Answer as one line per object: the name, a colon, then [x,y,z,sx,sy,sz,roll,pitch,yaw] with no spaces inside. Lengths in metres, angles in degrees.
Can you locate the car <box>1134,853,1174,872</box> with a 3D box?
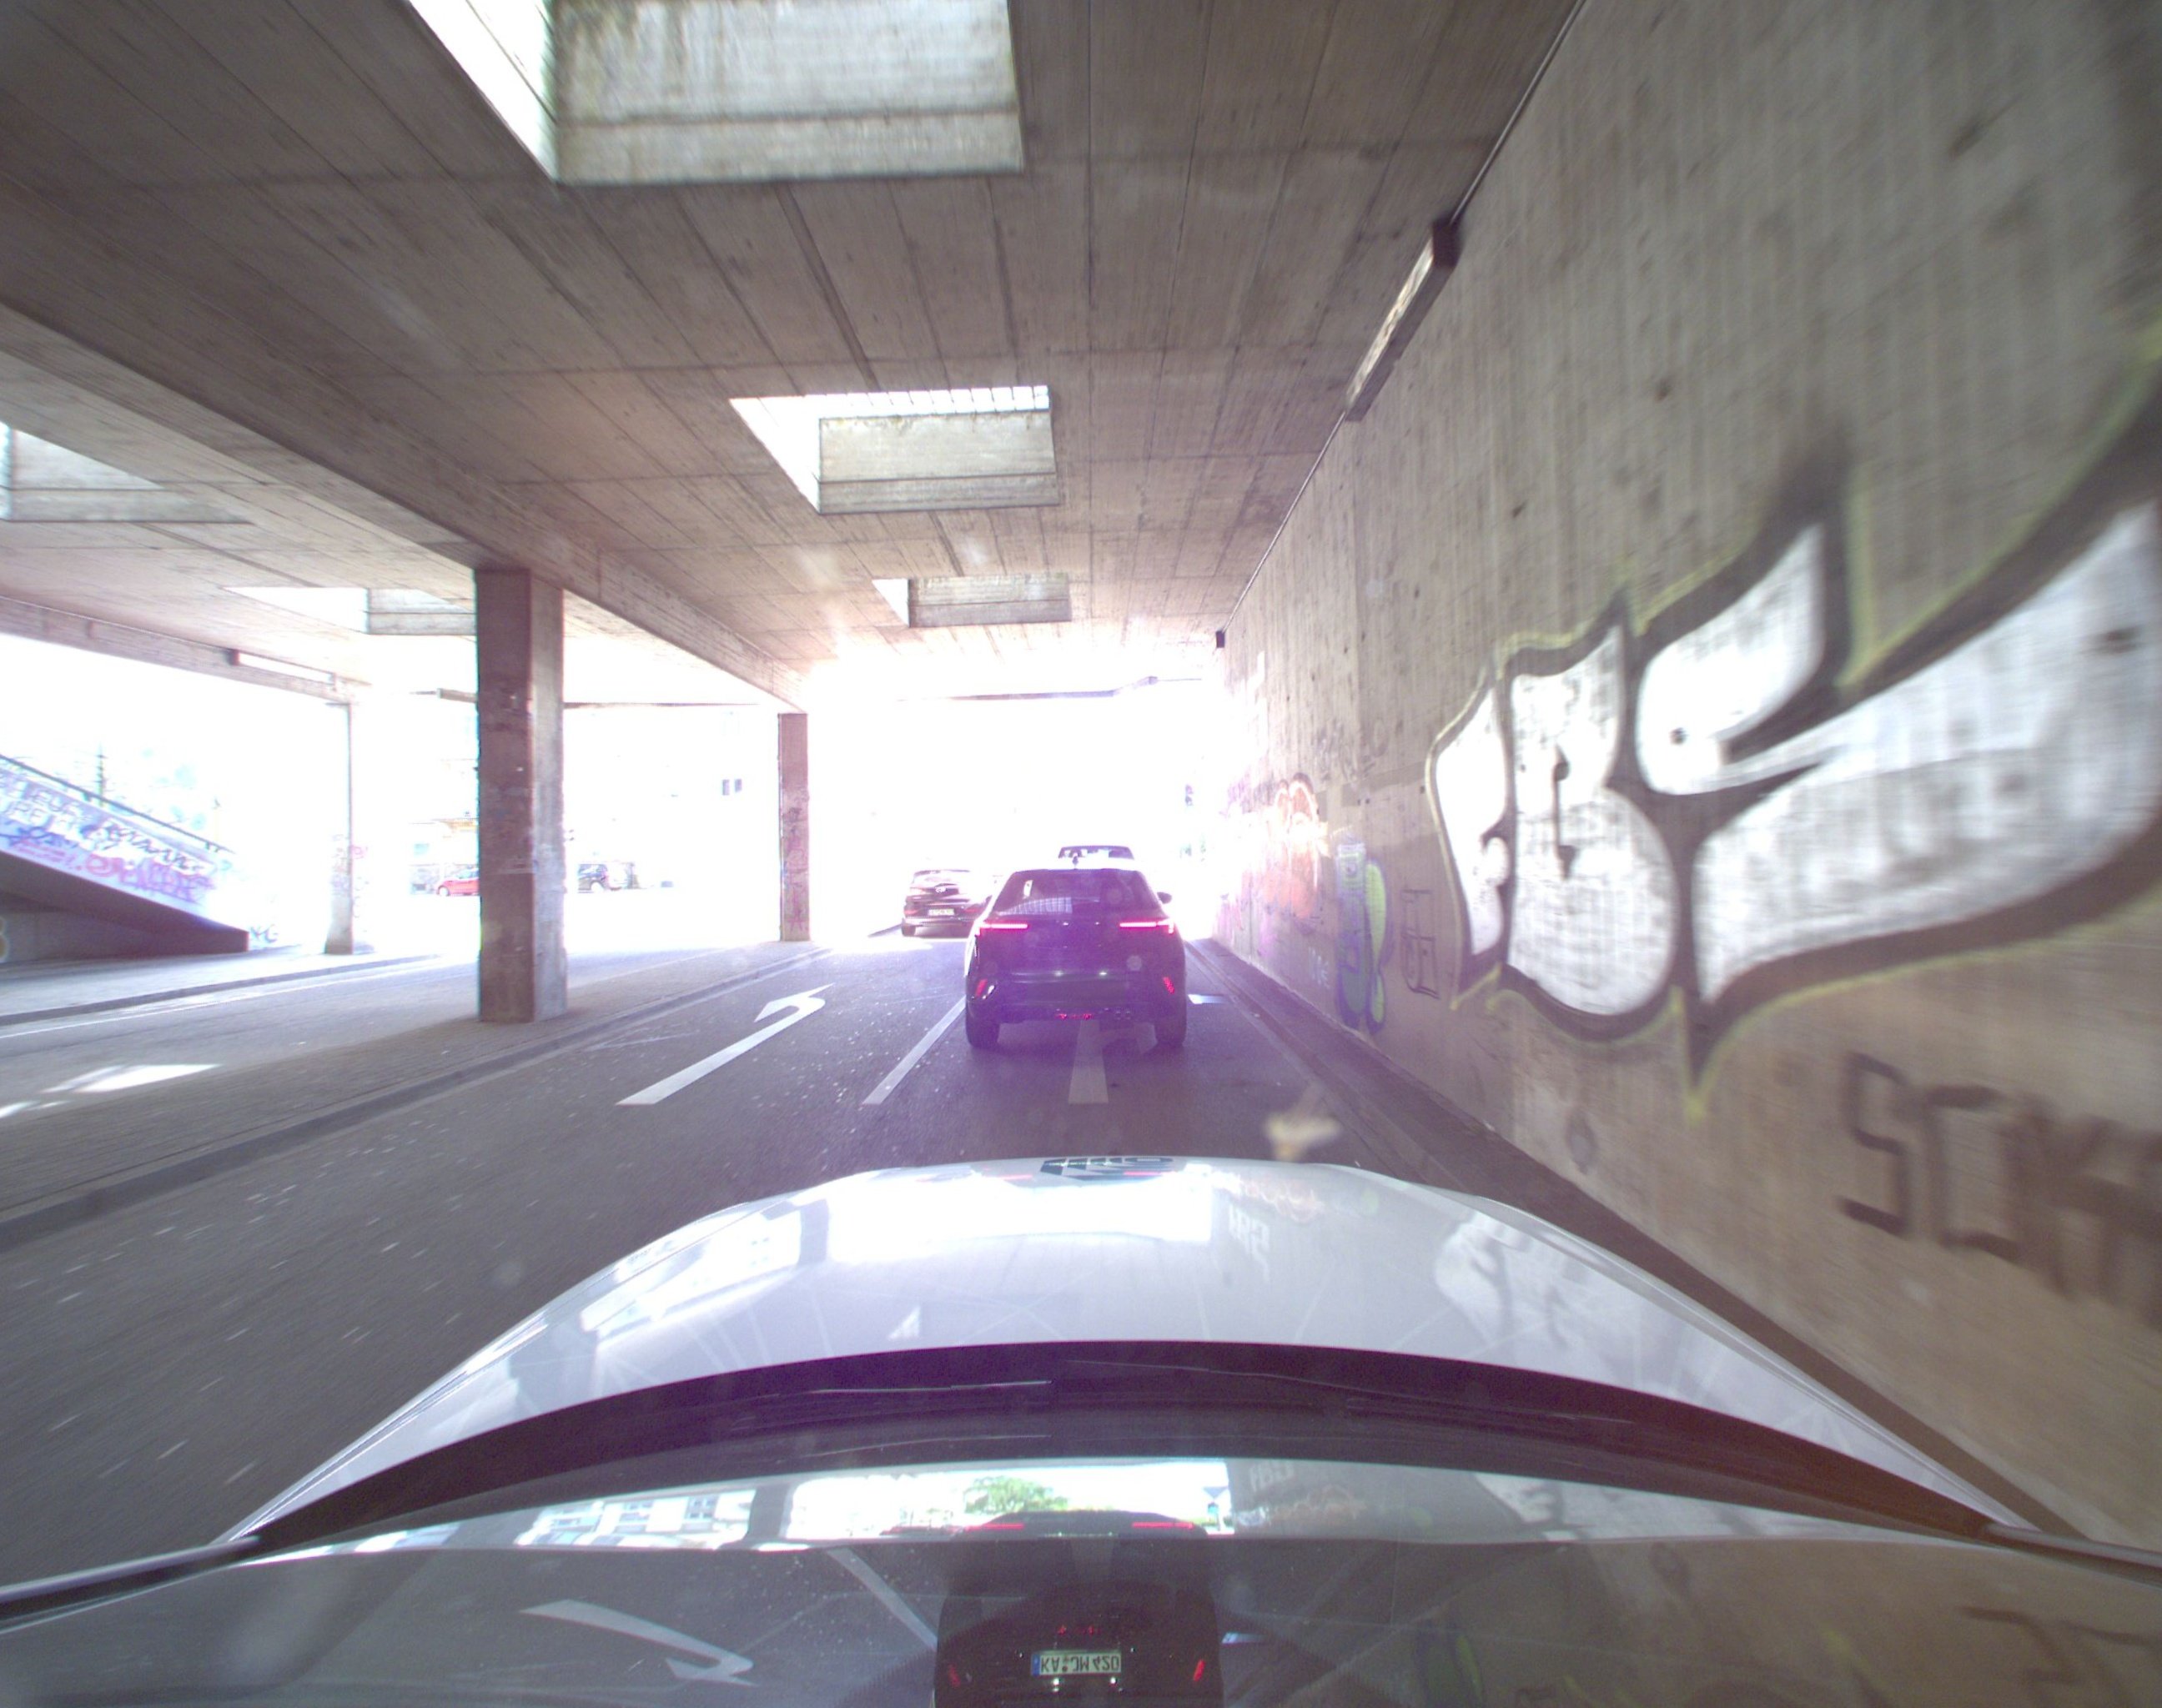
car: [10.311,1.253,114.977,5.267,2.545,1.976,-1,-1,-13]

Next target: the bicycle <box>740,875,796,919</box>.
bicycle: [-8.949,1.203,23.372,0.695,1.090,1.863,-1,2,5]

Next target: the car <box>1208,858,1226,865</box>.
car: [31.818,1.678,190.992,3.930,1.397,1.517,-4,-1,3]

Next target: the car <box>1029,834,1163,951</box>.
car: [0.150,0.623,15.617,2.128,1.835,4.935,-1,0,-2]

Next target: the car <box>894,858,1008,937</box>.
car: [-2.702,0.858,17.871,1.795,1.451,4.324,-2,0,-1]

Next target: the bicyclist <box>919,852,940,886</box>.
bicyclist: [-7.460,0.720,40.177,0.779,1.660,1.032,-1,0,2]

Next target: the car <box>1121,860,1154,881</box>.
car: [4.230,1.230,60.505,1.695,1.452,3.865,-1,0,14]

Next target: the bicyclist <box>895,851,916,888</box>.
bicyclist: [-7.776,0.681,36.152,0.602,1.632,0.911,-1,0,7]

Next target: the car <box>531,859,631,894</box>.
car: [-27.046,1.192,44.120,4.144,1.724,1.964,-1,1,2]

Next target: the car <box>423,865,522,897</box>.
car: [-32.903,1.461,44.091,3.863,1.540,1.900,-1,1,2]

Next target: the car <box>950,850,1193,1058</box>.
car: [-0.007,0.747,7.874,1.775,1.517,3.757,-1,0,2]

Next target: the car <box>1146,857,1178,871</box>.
car: [13.144,1.658,132.448,4.904,2.083,1.970,-1,-1,-23]

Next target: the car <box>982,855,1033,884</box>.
car: [-3.785,0.774,42.461,1.646,1.441,3.475,-1,0,12]

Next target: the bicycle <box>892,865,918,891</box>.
bicycle: [-7.779,1.053,36.015,0.523,1.090,1.864,-1,0,7]

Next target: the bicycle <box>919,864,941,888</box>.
bicycle: [-7.435,1.080,40.165,0.539,1.123,2.061,-1,0,4]

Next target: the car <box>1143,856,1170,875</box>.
car: [6.481,0.951,69.936,1.693,1.512,3.877,-3,-1,14]

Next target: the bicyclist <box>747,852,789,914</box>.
bicyclist: [-8.972,0.809,23.382,0.742,1.711,0.968,-1,1,4]
